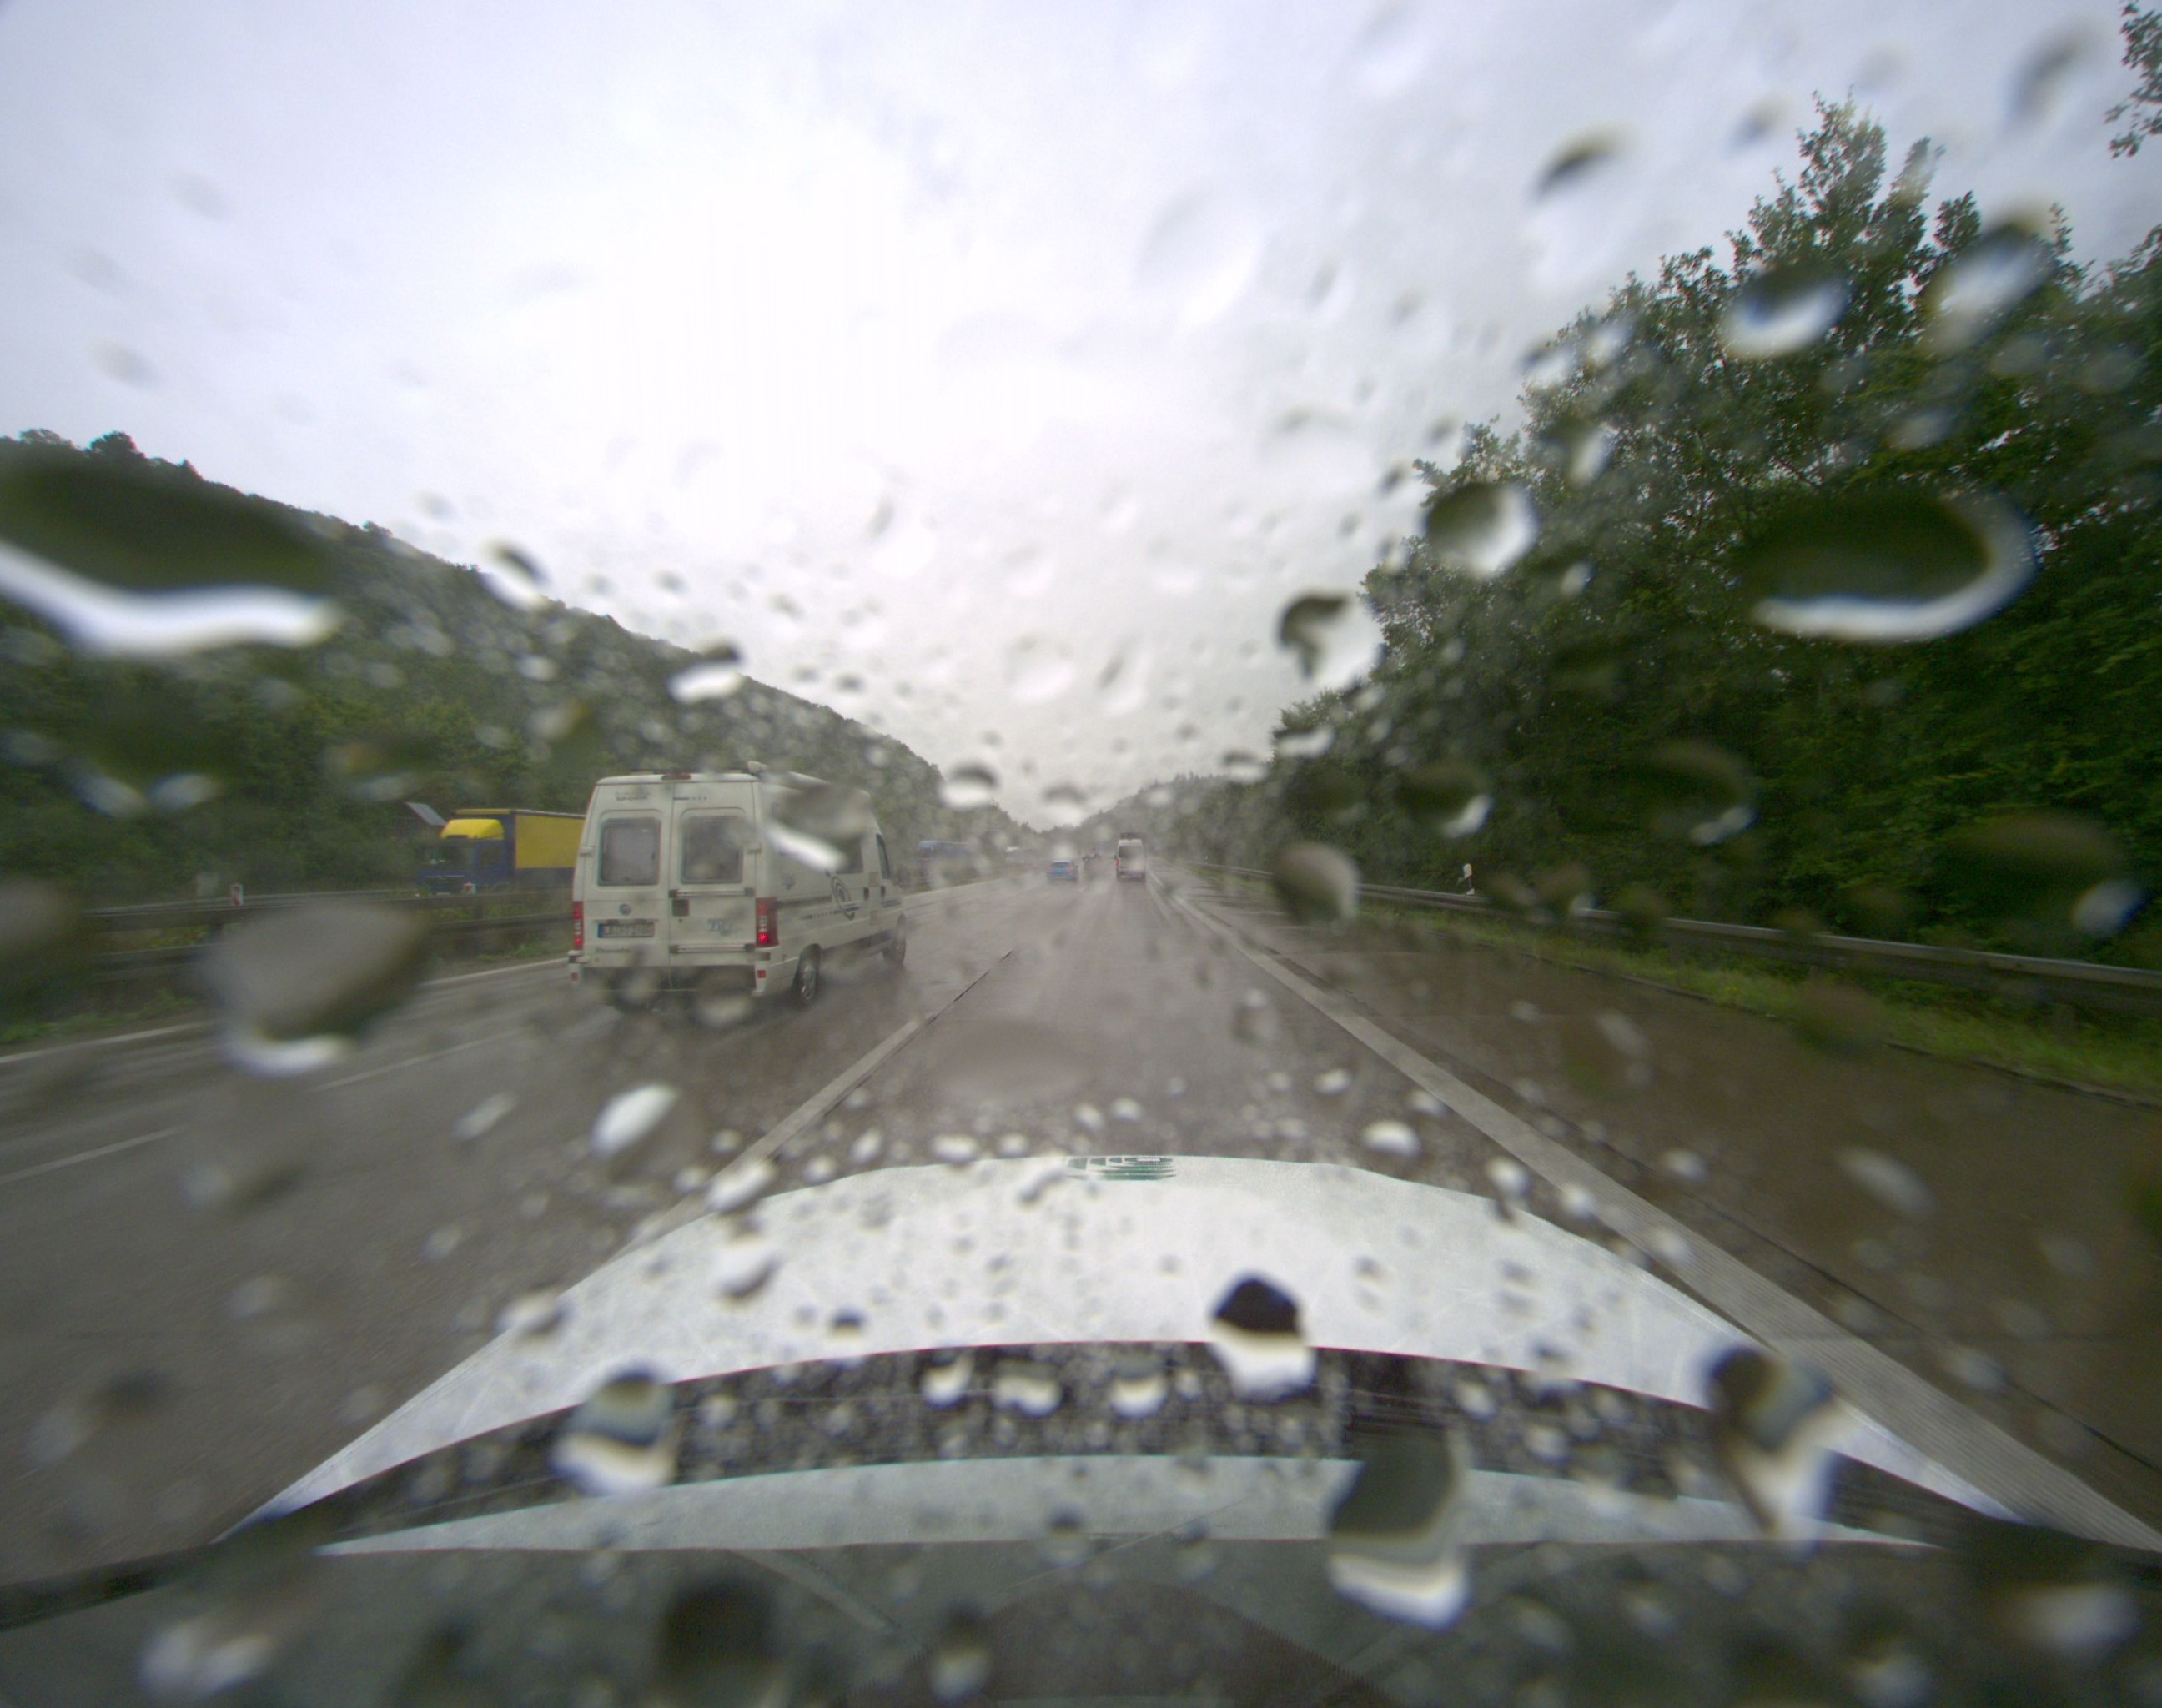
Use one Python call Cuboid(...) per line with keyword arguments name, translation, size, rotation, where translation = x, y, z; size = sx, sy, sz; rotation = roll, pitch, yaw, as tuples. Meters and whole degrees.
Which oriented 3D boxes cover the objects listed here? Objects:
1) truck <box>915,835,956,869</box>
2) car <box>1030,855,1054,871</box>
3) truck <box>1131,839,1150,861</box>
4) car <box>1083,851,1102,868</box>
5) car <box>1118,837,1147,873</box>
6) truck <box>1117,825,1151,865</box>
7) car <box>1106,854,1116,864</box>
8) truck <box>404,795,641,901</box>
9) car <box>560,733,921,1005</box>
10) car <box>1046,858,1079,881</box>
Cuboid(name="truck", translation=(-18.325, -0.247, 103.320), size=(2.836, 4.154, 10.187), rotation=(0, 0, 3))
Cuboid(name="car", translation=(-3.420, 0.766, 72.735), size=(1.850, 1.339, 4.352), rotation=(0, 0, 1))
Cuboid(name="truck", translation=(11.289, -0.658, 152.919), size=(3.075, 3.909, 9.070), rotation=(1, 0, 7))
Cuboid(name="car", translation=(1.286, 0.576, 86.622), size=(1.861, 1.810, 4.192), rotation=(0, 0, 3))
Cuboid(name="car", translation=(3.493, 0.043, 55.957), size=(1.892, 2.334, 5.254), rotation=(0, 0, 3))
Cuboid(name="truck", translation=(5.646, -1.056, 87.143), size=(3.370, 3.967, 8.676), rotation=(-2, 2, 4))
Cuboid(name="car", translation=(4.857, 0.816, 130.729), size=(1.607, 1.627, 4.192), rotation=(0, 0, 3))
Cuboid(name="truck", translation=(-22.292, -0.223, 33.542), size=(2.574, 3.700, 9.808), rotation=(0, 0, 3))
Cuboid(name="car", translation=(-3.623, 0.129, 10.205), size=(1.991, 2.432, 5.791), rotation=(0, 0, 1))
Cuboid(name="car", translation=(-1.078, 0.913, 49.601), size=(1.850, 1.339, 4.351), rotation=(0, 0, 1))
